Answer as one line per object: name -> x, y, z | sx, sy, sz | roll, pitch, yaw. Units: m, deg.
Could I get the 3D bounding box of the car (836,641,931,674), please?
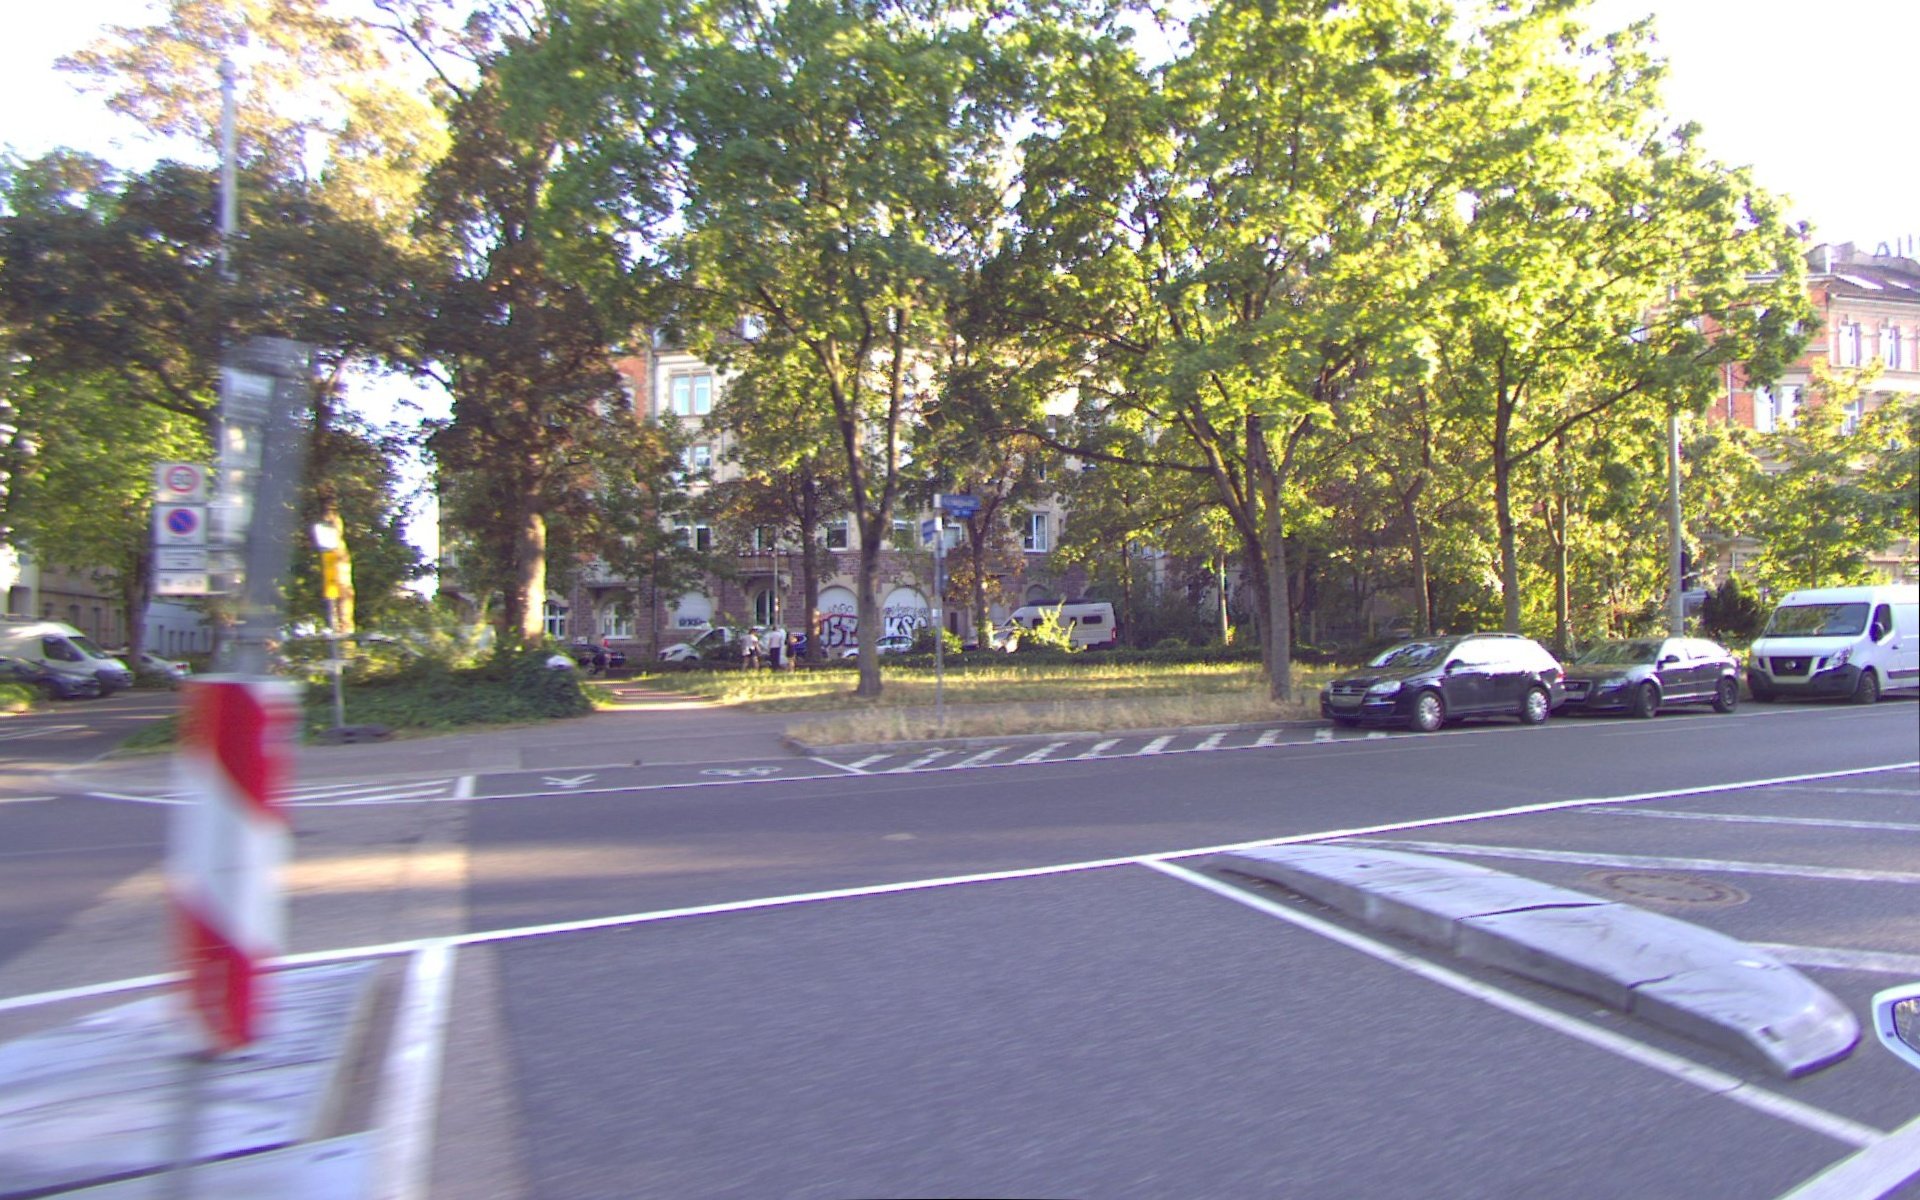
car -> -3.393, 2.564, 44.832 | 3.919, 1.416, 1.896 | -1, -2, 8

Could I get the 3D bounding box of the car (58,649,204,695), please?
car -> -31.671, 2.723, 38.531 | 3.991, 1.550, 1.894 | 0, -1, -27

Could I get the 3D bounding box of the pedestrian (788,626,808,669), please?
pedestrian -> -5.406, 1.592, 33.517 | 0.553, 1.414, 0.454 | 0, -2, -32

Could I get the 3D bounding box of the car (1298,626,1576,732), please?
car -> 7.786, 1.212, 16.318 | 4.483, 1.526, 1.619 | 1, -2, -26

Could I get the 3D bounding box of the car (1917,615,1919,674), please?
car -> 26.256, 1.175, 25.142 | 4.511, 1.666, 1.860 | 1, -3, -26

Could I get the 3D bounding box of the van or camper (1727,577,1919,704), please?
van or camper -> 19.820, 0.860, 22.125 | 6.223, 2.500, 2.084 | 0, -3, -27

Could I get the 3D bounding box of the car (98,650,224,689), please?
car -> -35.055, 3.020, 44.207 | 3.991, 1.550, 1.894 | 0, -1, -27

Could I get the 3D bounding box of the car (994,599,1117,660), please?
car -> 4.167, 1.305, 43.409 | 5.128, 2.518, 2.275 | -1, -2, 8

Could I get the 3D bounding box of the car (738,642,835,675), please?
car -> -7.807, 2.649, 45.411 | 3.919, 1.416, 1.896 | -1, -2, 8

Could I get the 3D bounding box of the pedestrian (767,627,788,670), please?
pedestrian -> -6.063, 1.613, 33.375 | 0.553, 1.414, 0.454 | 0, -2, -32

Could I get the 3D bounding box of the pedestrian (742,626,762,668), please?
pedestrian -> -7.119, 1.606, 34.361 | 0.547, 1.414, 0.458 | -1, -1, 4

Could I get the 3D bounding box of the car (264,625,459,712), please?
car -> -14.485, 1.600, 24.531 | 3.953, 1.907, 1.984 | 1, 0, -30

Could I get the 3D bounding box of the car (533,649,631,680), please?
car -> -17.811, 3.033, 47.416 | 3.919, 1.416, 1.896 | -1, -2, 8

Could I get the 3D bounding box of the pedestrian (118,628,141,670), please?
pedestrian -> -40.279, 2.378, 48.746 | 0.647, 2.040, 0.689 | 0, -2, -21

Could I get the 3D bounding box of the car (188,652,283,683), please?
car -> -39.721, 3.672, 55.196 | 3.991, 1.550, 1.894 | 0, -1, -27

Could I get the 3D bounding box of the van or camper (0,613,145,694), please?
van or camper -> -29.913, 1.685, 32.327 | 5.358, 2.504, 2.058 | 0, -1, -27

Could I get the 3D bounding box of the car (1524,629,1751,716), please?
car -> 12.613, 1.290, 18.663 | 4.187, 1.448, 1.623 | 0, -3, -27

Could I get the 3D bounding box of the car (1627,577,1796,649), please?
car -> 30.573, 0.574, 40.979 | 5.205, 2.775, 2.127 | -1, -3, 0

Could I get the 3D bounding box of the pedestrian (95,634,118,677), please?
pedestrian -> -41.069, 2.659, 48.336 | 0.647, 2.040, 0.689 | 0, -2, -21
